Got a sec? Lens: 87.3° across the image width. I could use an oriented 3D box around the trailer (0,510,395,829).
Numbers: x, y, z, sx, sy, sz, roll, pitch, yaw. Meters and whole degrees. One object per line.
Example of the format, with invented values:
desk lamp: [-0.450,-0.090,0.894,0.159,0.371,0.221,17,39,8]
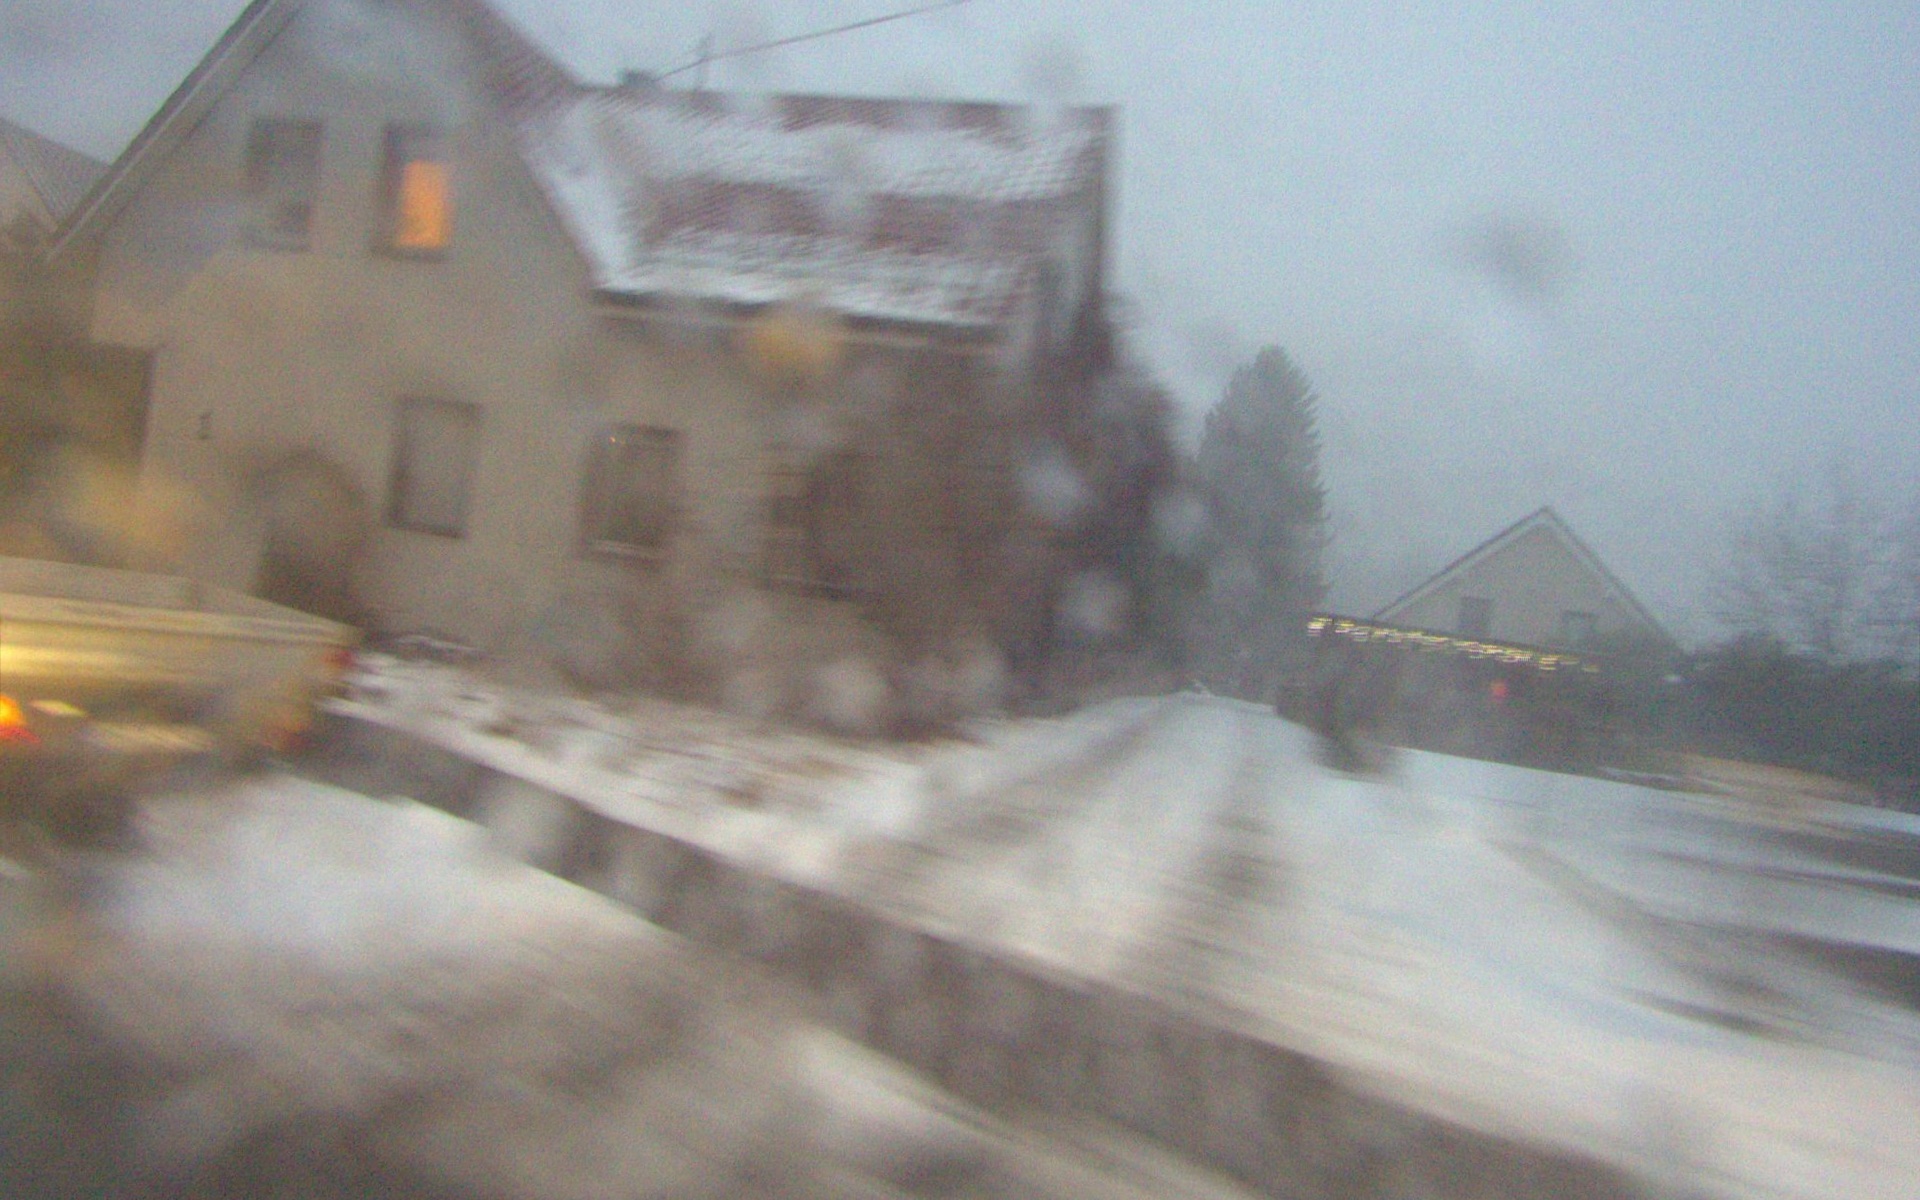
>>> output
trailer: [-5.813,0.207,6.544,4.661,1.404,1.994,7,-2,38]
